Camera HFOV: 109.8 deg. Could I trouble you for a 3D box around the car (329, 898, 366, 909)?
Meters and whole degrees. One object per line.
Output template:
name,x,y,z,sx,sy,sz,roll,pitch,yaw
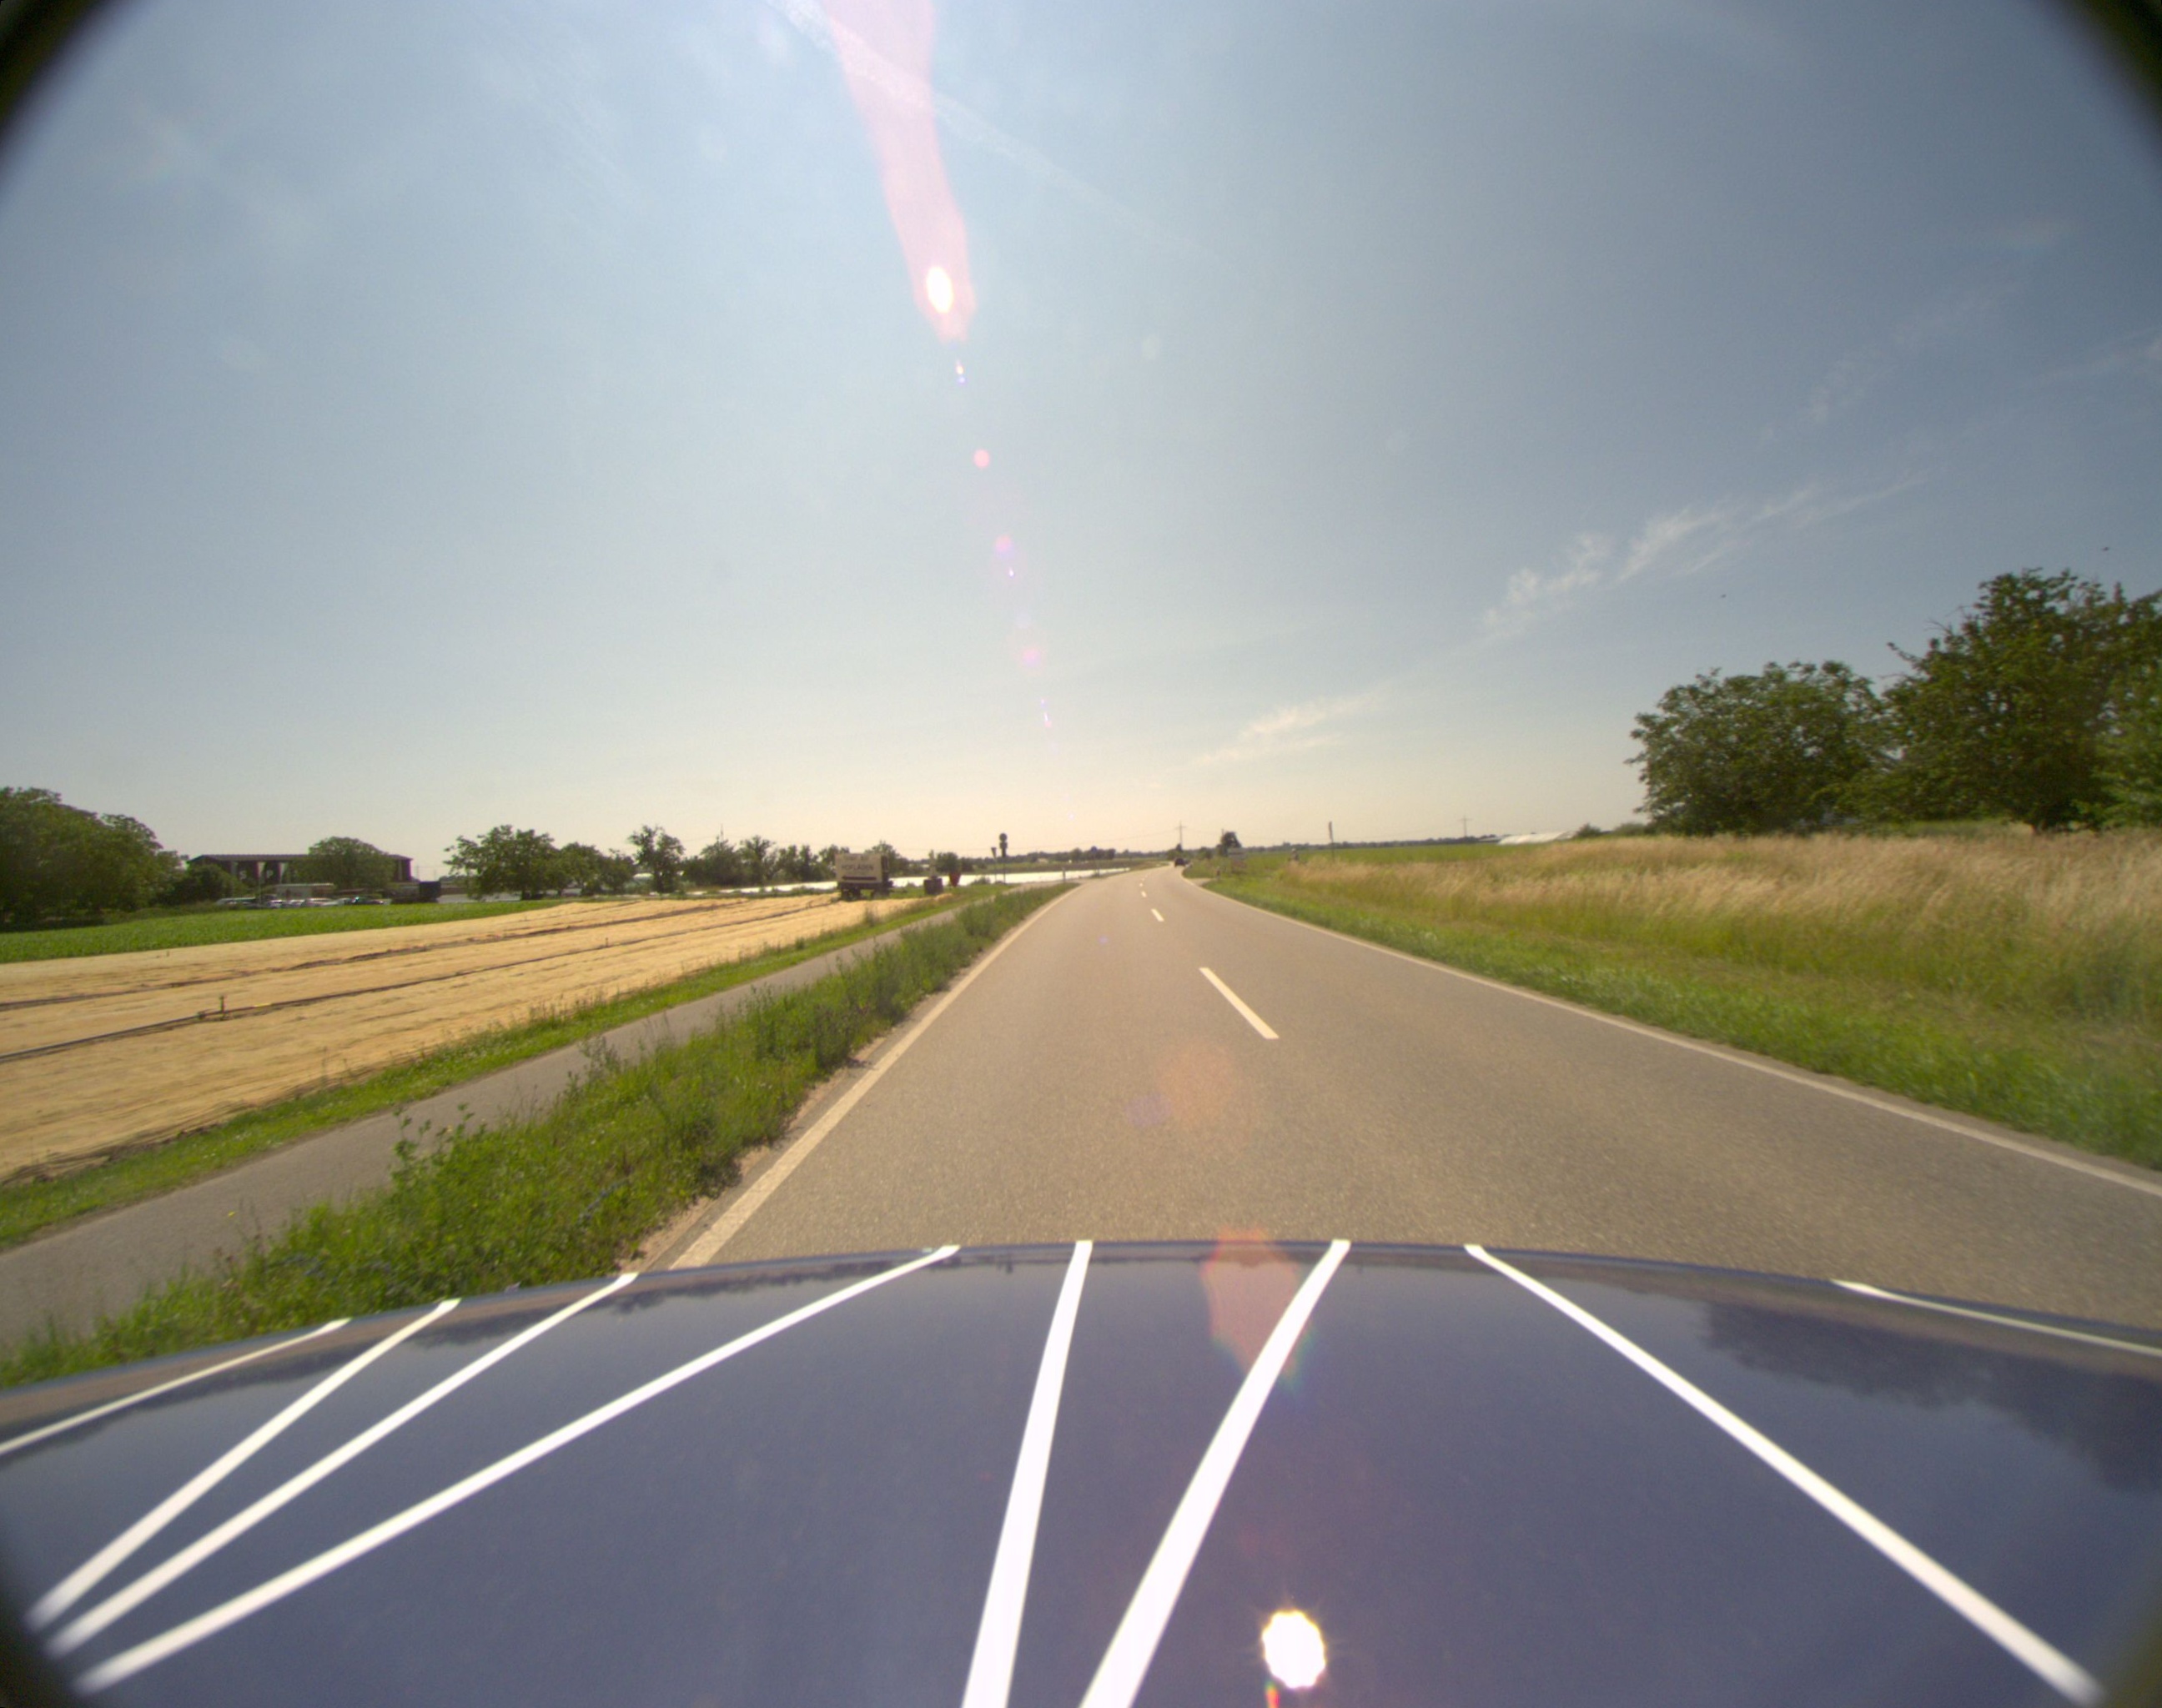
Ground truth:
car,-97.825,6.580,101.382,1.294,1.190,3.283,-3,0,15

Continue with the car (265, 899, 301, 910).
car,-111.801,7.058,106.484,1.294,1.190,3.283,-3,0,15

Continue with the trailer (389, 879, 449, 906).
trailer,-92.332,5.312,105.948,7.424,3.274,3.264,-3,1,24

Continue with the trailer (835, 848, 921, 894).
trailer,-13.801,1.159,51.693,5.284,2.936,2.002,-2,2,18

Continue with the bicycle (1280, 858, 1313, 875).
bicycle,13.405,0.775,47.309,1.921,0.986,0.683,-3,0,16

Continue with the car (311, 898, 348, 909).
car,-100.612,6.676,101.794,1.294,1.190,3.283,-3,0,15

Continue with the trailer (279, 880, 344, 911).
trailer,-118.281,6.350,116.821,7.430,4.197,3.160,-3,1,11

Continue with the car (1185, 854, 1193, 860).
car,25.351,0.792,177.642,1.745,1.349,4.421,-2,0,9

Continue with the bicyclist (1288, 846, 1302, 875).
bicyclist,13.341,0.411,47.321,0.700,1.747,0.663,-3,1,16

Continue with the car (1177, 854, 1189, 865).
car,18.169,0.969,135.229,1.937,1.741,5.207,-1,0,9

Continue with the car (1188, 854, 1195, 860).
car,30.198,0.925,207.068,1.743,1.523,4.144,-2,0,9
